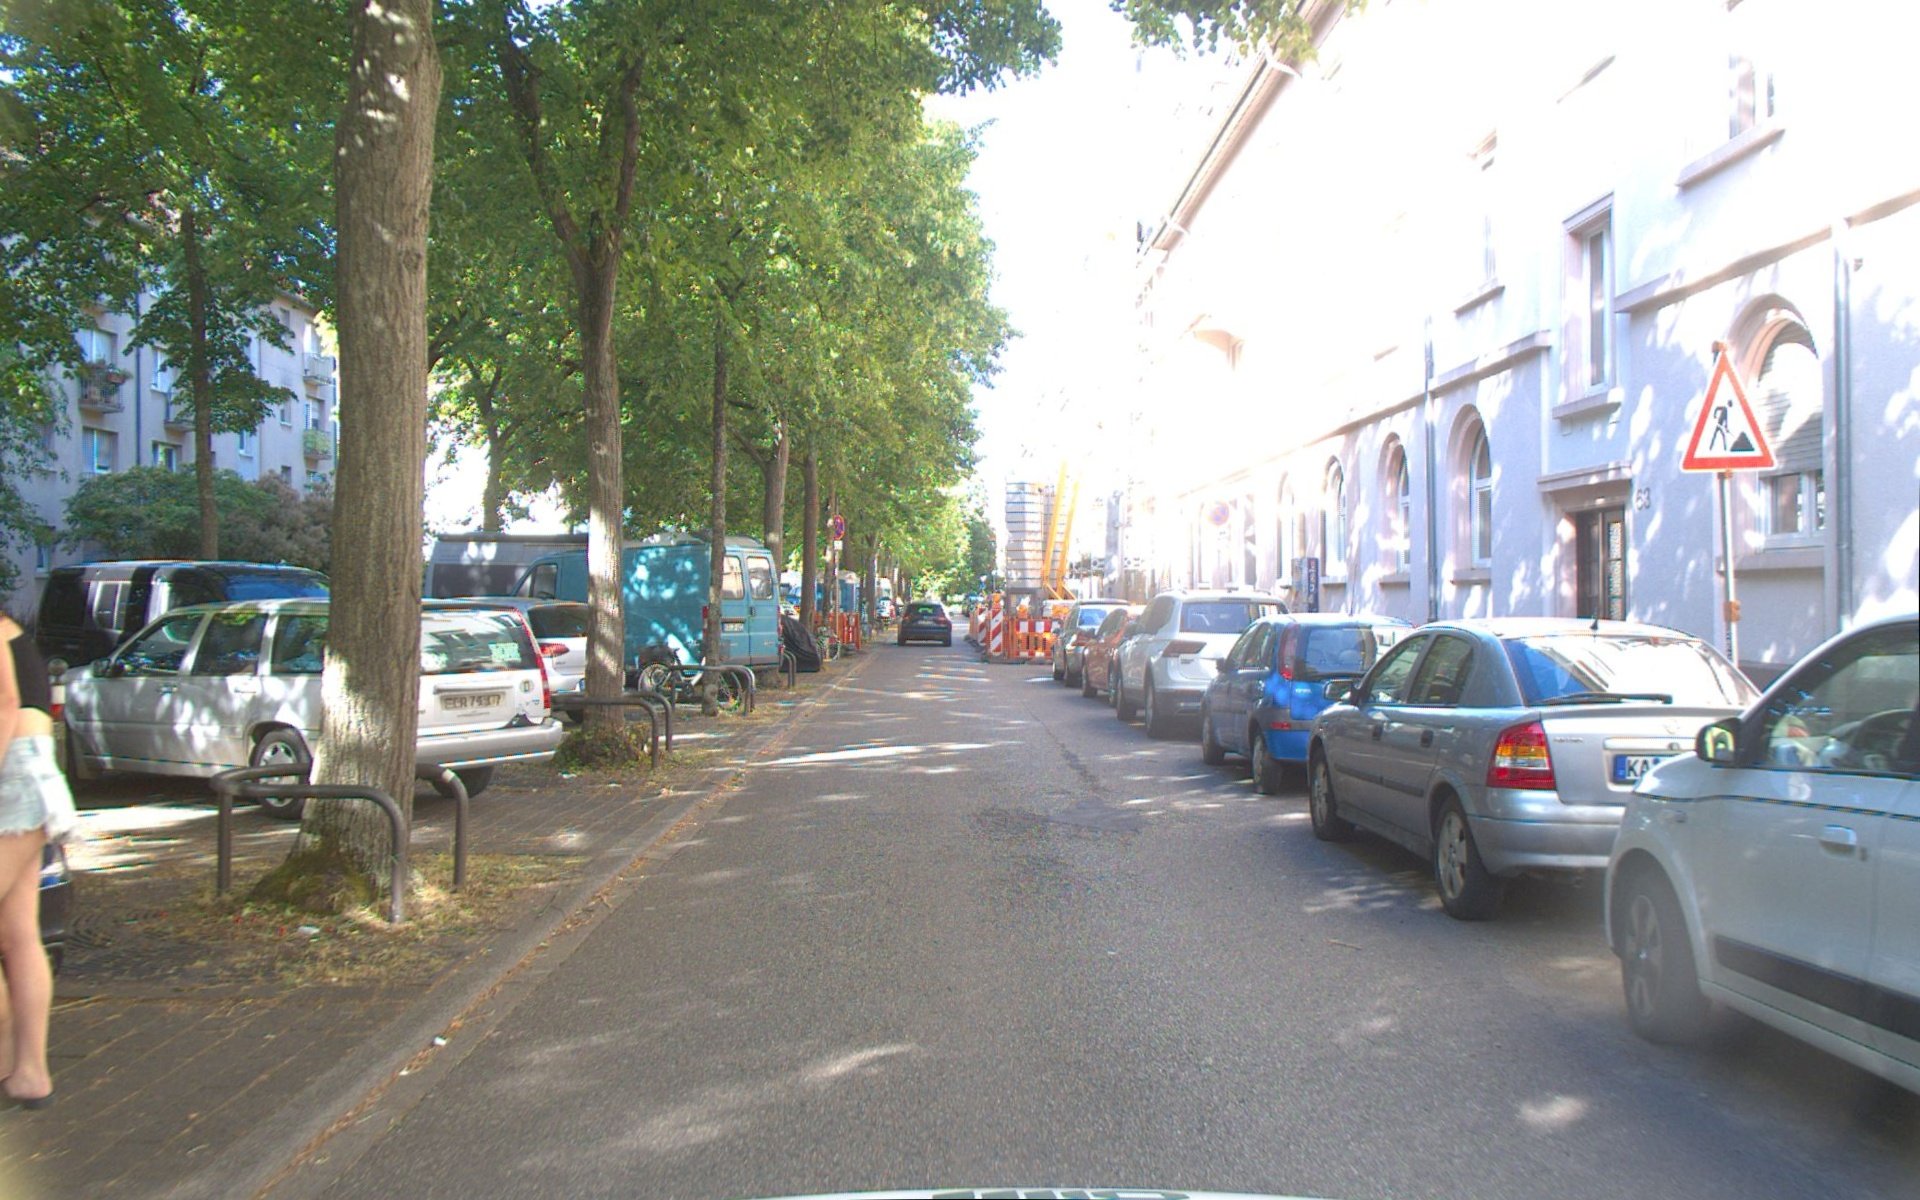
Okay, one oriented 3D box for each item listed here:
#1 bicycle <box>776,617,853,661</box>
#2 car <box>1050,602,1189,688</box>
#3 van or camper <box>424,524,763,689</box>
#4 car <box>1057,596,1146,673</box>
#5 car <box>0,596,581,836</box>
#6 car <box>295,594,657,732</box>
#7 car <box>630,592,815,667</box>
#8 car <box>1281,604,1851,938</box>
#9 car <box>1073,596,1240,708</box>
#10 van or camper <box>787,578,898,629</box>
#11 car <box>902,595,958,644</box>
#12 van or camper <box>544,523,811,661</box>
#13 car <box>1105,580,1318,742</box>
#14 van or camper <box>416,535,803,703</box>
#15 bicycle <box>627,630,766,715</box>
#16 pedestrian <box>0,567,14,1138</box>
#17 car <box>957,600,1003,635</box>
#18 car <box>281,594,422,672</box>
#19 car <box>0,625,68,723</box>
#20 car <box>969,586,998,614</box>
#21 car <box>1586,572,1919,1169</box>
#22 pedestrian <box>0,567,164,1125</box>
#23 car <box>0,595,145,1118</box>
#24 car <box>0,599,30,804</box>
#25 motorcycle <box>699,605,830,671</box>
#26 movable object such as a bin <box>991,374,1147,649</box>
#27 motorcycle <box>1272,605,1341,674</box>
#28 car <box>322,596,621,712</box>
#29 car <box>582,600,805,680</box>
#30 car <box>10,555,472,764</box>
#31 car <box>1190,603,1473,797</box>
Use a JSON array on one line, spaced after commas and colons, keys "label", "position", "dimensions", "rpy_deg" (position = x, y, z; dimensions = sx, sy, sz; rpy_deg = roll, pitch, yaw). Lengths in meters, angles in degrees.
[{"label": "bicycle", "position": [-3.489, 0.931, 39.590], "dimensions": [1.858, 1.024, 0.430], "rpy_deg": [0, 0, 23]}, {"label": "car", "position": [2.826, 0.765, 30.224], "dimensions": [1.953, 1.434, 4.499], "rpy_deg": [0, 0, -2]}, {"label": "van or camper", "position": [-6.495, 0.128, 29.147], "dimensions": [5.756, 2.683, 2.252], "rpy_deg": [-1, 0, 29]}, {"label": "car", "position": [2.951, 0.701, 34.916], "dimensions": [1.560, 1.557, 2.779], "rpy_deg": [0, 0, -2]}, {"label": "car", "position": [-4.994, 0.726, 12.115], "dimensions": [4.393, 1.468, 1.728], "rpy_deg": [0, 0, 32]}, {"label": "car", "position": [-5.654, 0.676, 19.291], "dimensions": [3.867, 1.468, 1.844], "rpy_deg": [0, 0, 27]}, {"label": "car", "position": [-5.492, 0.657, 38.306], "dimensions": [3.874, 1.657, 1.822], "rpy_deg": [0, 0, 25]}, {"label": "car", "position": [3.095, 0.762, 9.393], "dimensions": [1.598, 1.437, 4.087], "rpy_deg": [0, 0, -2]}, {"label": "car", "position": [2.924, 0.731, 25.397], "dimensions": [1.756, 1.550, 3.959], "rpy_deg": [0, 0, -5]}, {"label": "van or camper", "position": [-5.979, 0.188, 83.938], "dimensions": [5.235, 2.518, 2.289], "rpy_deg": [-1, 0, 31]}, {"label": "car", "position": [-1.020, 0.626, 54.829], "dimensions": [1.761, 1.530, 3.584], "rpy_deg": [-1, 0, -2]}, {"label": "van or camper", "position": [-7.250, -0.172, 42.239], "dimensions": [6.528, 3.297, 2.492], "rpy_deg": [-1, 0, 28]}, {"label": "car", "position": [2.877, 0.636, 19.902], "dimensions": [1.779, 1.703, 4.672], "rpy_deg": [0, 0, -1]}, {"label": "van or camper", "position": [-5.282, 0.286, 24.921], "dimensions": [5.386, 2.315, 2.220], "rpy_deg": [-1, 0, 23]}, {"label": "bicycle", "position": [-3.377, 0.914, 21.276], "dimensions": [1.702, 1.023, 0.506], "rpy_deg": [-1, 0, -31]}, {"label": "pedestrian", "position": [-2.917, 0.661, 4.187], "dimensions": [0.695, 1.481, 0.596], "rpy_deg": [-1, 0, 22]}, {"label": "car", "position": [0.836, 0.715, 70.126], "dimensions": [1.761, 1.409, 3.584], "rpy_deg": [-1, 0, -2]}, {"label": "car", "position": [-15.508, 0.800, 42.448], "dimensions": [1.780, 1.835, 4.845], "rpy_deg": [-2, 0, 0]}, {"label": "car", "position": [-15.356, 1.146, 24.805], "dimensions": [1.630, 1.449, 4.362], "rpy_deg": [0, 0, -1]}, {"label": "car", "position": [1.559, -0.012, 111.512], "dimensions": [1.761, 1.832, 3.584], "rpy_deg": [-1, 0, -2]}, {"label": "car", "position": [3.294, 0.700, 4.636], "dimensions": [1.598, 1.561, 3.591], "rpy_deg": [0, 0, -2]}, {"label": "pedestrian", "position": [-2.726, 0.655, 4.745], "dimensions": [0.602, 1.481, 0.519], "rpy_deg": [-1, 0, 22]}, {"label": "car", "position": [-4.732, 0.727, 5.183], "dimensions": [4.230, 1.449, 1.674], "rpy_deg": [0, 0, 26]}, {"label": "car", "position": [-8.604, 0.729, 11.967], "dimensions": [3.494, 1.449, 1.673], "rpy_deg": [0, 0, 28]}, {"label": "motorcycle", "position": [-3.910, 0.751, 33.134], "dimensions": [2.495, 1.280, 0.763], "rpy_deg": [0, 0, 7]}, {"label": "movable object such as a bin", "position": [2.862, -2.217, 43.310], "dimensions": [3.415, 6.878, 2.363], "rpy_deg": [0, 0, 31]}, {"label": "motorcycle", "position": [6.410, 0.713, 30.684], "dimensions": [0.537, 1.214, 1.831], "rpy_deg": [-1, 0, -12]}, {"label": "car", "position": [-6.710, 0.693, 22.658], "dimensions": [3.911, 1.456, 1.718], "rpy_deg": [0, 0, 30]}, {"label": "car", "position": [-5.090, 0.733, 31.517], "dimensions": [3.876, 1.439, 1.821], "rpy_deg": [0, 0, 27]}, {"label": "car", "position": [-7.019, 0.512, 16.050], "dimensions": [4.460, 1.795, 1.807], "rpy_deg": [0, 0, 30]}, {"label": "car", "position": [3.097, 0.767, 14.511], "dimensions": [1.585, 1.437, 3.787], "rpy_deg": [0, 0, -1]}]
